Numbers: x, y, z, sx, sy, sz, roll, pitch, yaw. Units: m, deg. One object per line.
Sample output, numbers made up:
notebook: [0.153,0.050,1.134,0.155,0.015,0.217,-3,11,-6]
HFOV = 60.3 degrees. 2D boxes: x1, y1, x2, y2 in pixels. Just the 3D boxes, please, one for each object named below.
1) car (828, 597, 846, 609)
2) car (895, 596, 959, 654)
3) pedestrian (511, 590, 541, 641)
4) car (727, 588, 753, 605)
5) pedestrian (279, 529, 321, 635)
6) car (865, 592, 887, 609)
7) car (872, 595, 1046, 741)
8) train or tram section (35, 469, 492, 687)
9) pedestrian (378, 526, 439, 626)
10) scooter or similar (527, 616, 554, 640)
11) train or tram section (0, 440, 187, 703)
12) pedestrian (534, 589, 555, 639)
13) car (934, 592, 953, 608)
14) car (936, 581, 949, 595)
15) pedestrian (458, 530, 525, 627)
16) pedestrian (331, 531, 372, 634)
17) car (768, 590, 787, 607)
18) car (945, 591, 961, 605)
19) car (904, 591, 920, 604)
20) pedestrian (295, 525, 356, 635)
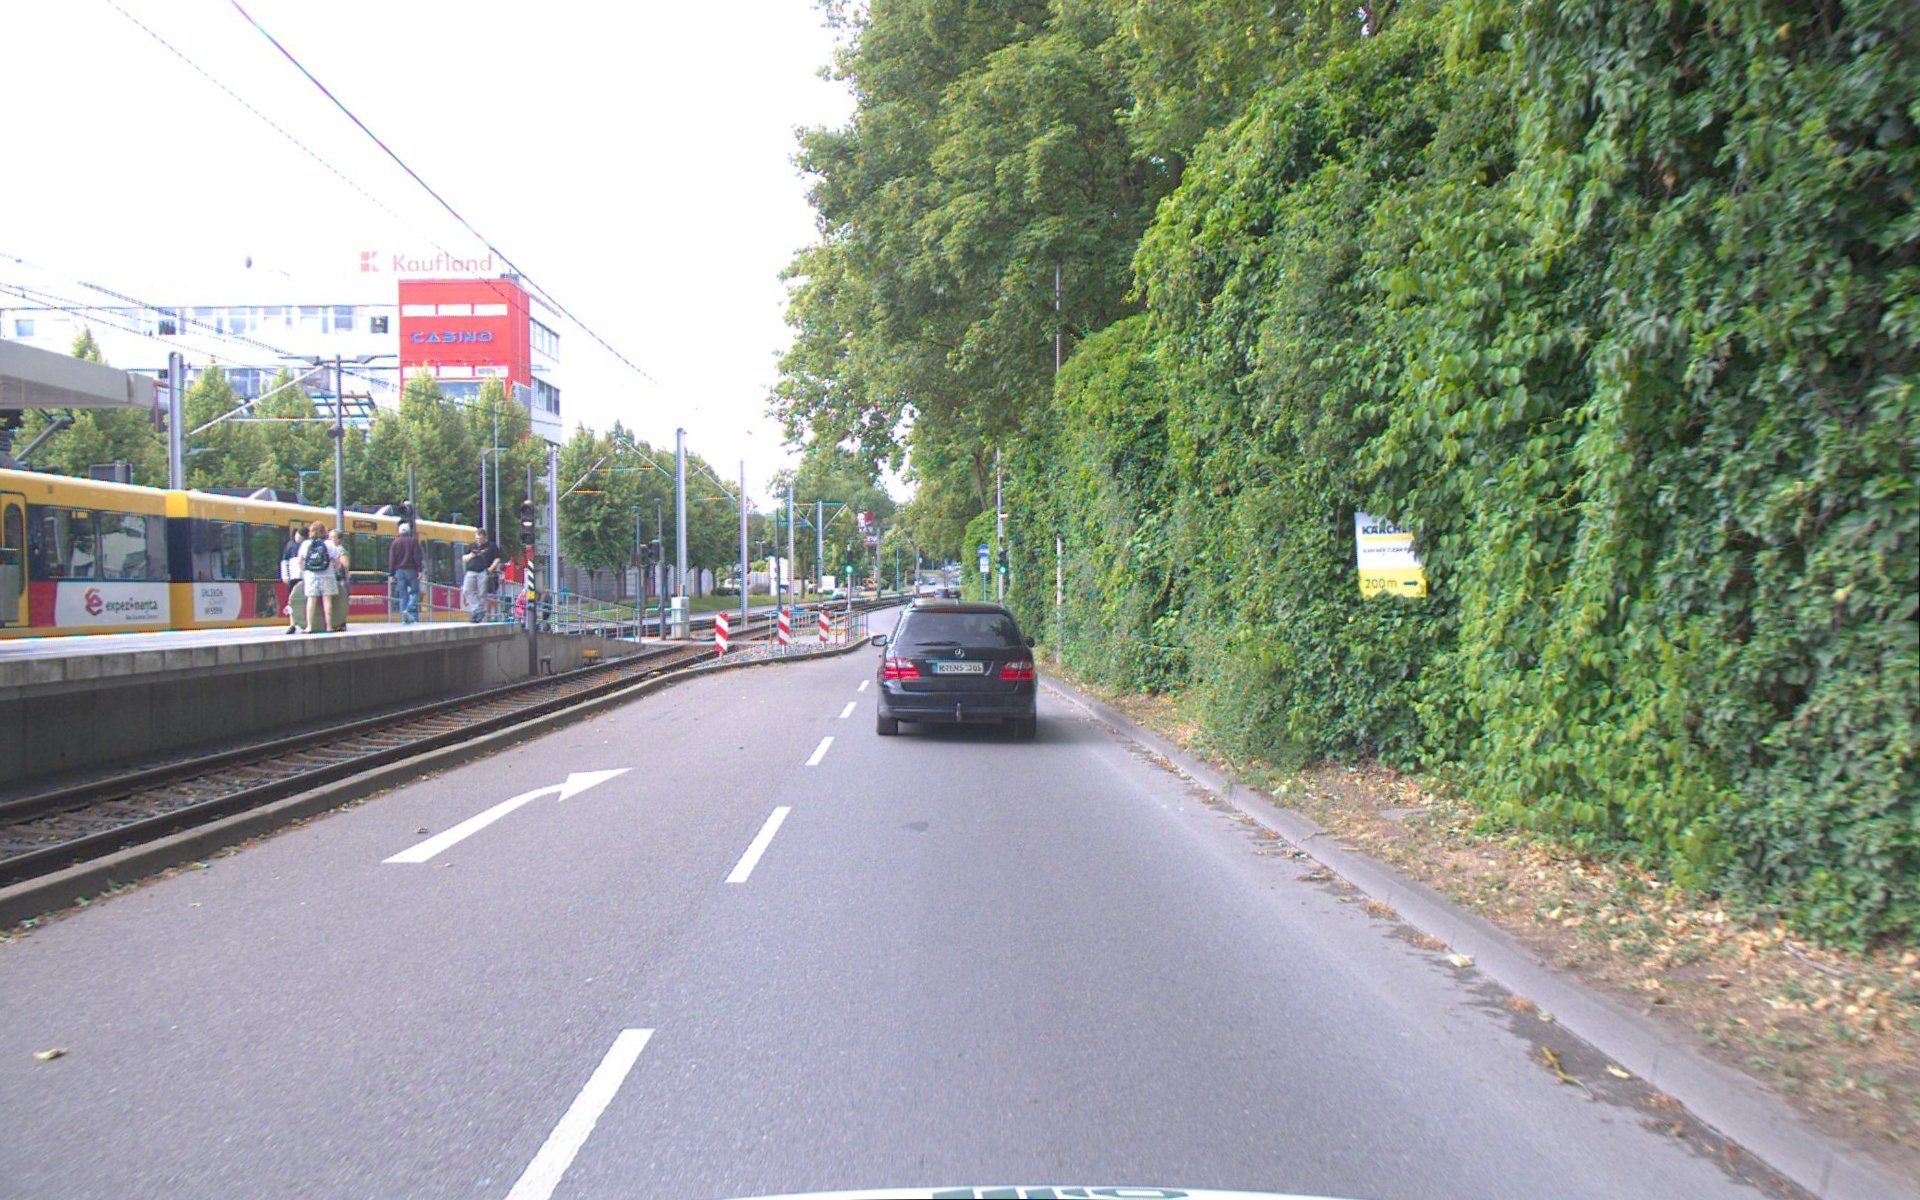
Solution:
car: [-14.427,0.335,194.381,1.625,1.417,3.721,0,0,4]
car: [-0.963,0.694,48.238,1.788,1.556,4.415,0,0,-1]
pedestrian: [-14.538,0.510,55.419,0.600,1.683,0.796,-2,0,20]
car: [-23.989,-0.422,180.511,1.952,1.773,4.989,-1,0,3]
pedestrian: [-9.571,-0.255,23.995,0.467,1.509,0.540,-2,0,-15]
car: [-7.959,0.011,156.734,1.787,1.556,3.928,0,0,1]
car: [-0.012,0.709,19.305,1.796,1.504,4.415,0,0,0]
train or tram section: [-15.496,-0.359,39.828,2.700,3.895,18.632,-2,0,1]
pedestrian: [-9.682,-0.410,29.040,0.755,1.707,0.790,-2,0,-1]
scooter or similar: [-14.004,0.929,55.227,0.485,0.781,0.799,-2,0,20]
train or tram section: [-15.781,-0.372,21.166,2.700,3.950,18.633,-2,0,1]
pedestrian: [-14.170,0.482,56.403,0.505,1.691,0.466,-2,0,10]
car: [-1.658,0.009,165.506,1.787,1.556,4.416,-1,0,1]
car: [-2.554,-1.803,245.992,1.853,2.049,3.897,-2,0,-1]
pedestrian: [-8.405,-0.388,29.669,0.732,1.707,0.871,-2,0,43]
pedestrian: [-8.916,-0.254,24.246,0.353,1.490,0.639,-1,0,-2]
car: [-23.204,-0.214,210.727,1.953,2.049,3.999,-2,0,-1]
car: [-0.771,-0.200,185.168,1.787,1.556,3.928,0,0,1]
car: [-5.821,-0.317,200.923,1.787,1.556,3.986,0,0,1]
pedestrian: [-8.894,-0.284,23.192,0.511,1.508,0.579,-2,0,37]
